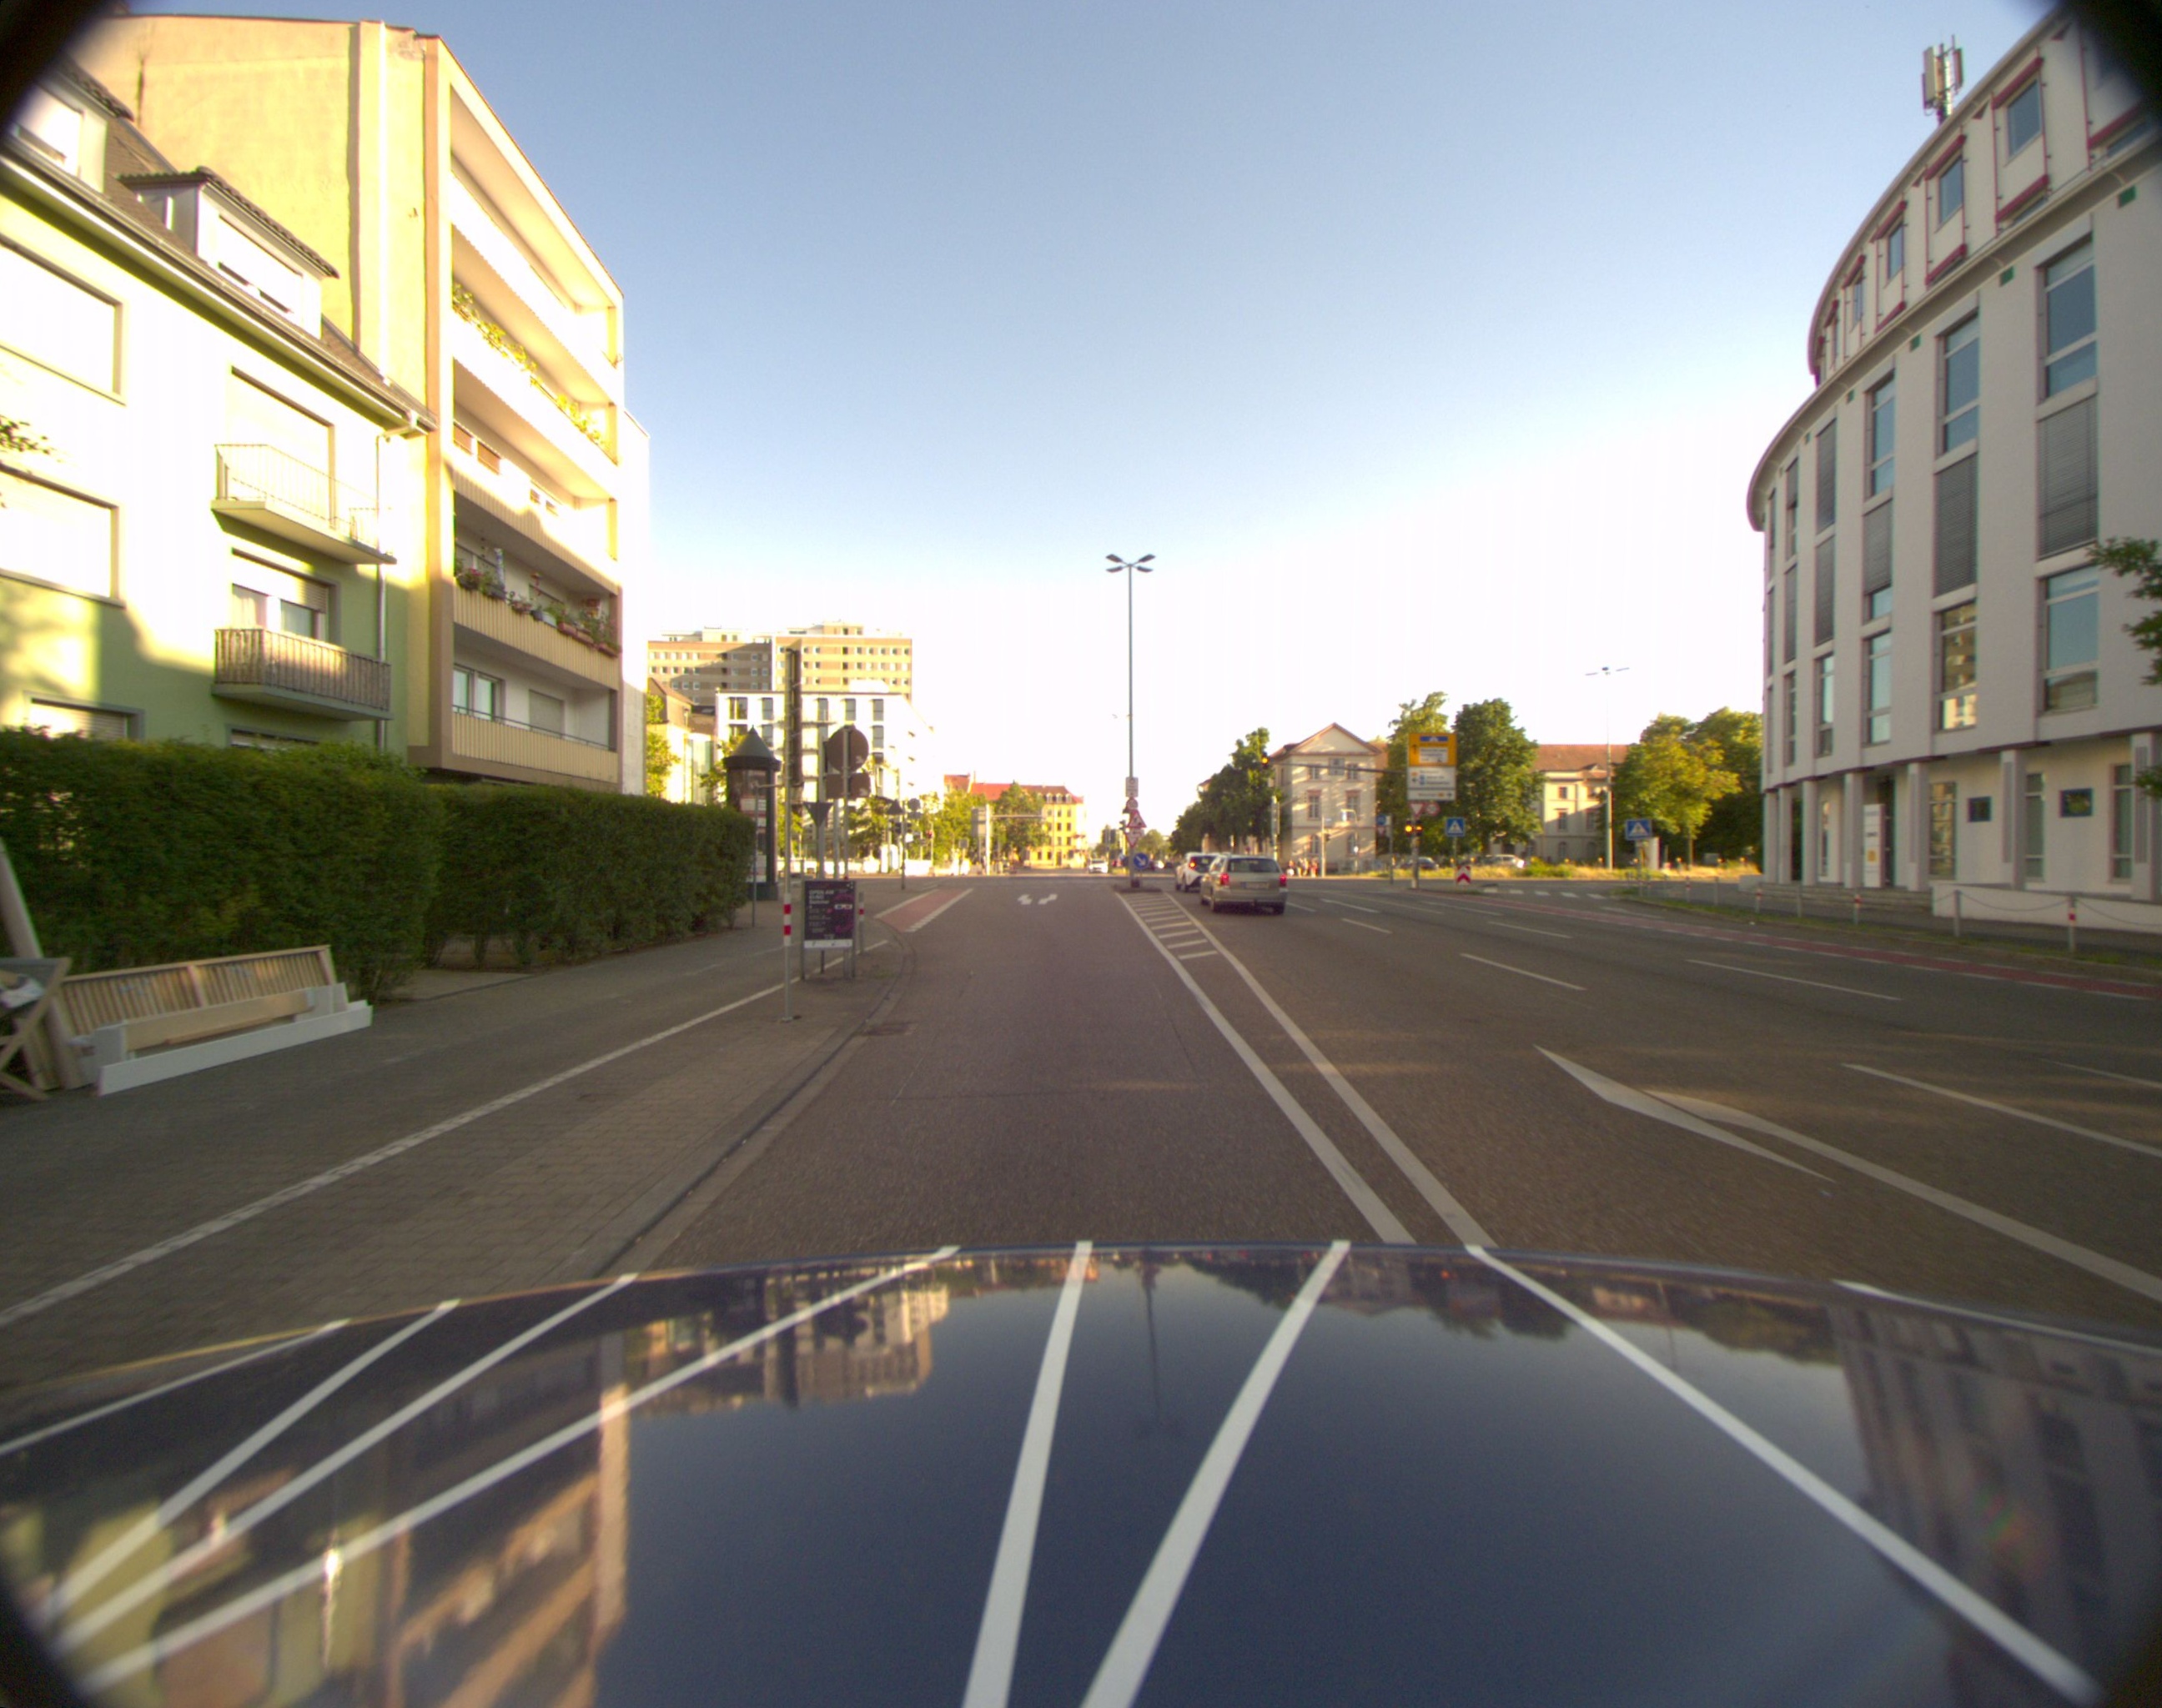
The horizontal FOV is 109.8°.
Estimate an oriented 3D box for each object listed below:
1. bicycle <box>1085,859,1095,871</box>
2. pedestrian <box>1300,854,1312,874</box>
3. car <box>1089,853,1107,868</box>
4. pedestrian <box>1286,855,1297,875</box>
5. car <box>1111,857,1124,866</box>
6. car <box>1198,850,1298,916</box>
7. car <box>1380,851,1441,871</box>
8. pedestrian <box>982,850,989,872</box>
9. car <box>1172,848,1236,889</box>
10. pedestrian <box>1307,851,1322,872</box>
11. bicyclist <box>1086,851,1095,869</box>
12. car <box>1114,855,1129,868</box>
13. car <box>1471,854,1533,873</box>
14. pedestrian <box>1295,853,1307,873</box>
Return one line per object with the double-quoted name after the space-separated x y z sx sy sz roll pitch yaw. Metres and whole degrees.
0.848 1.037 71.502 0.834 1.101 2.080 0 0 -1 "bicycle"
18.855 0.834 63.700 0.678 1.641 0.882 0 0 -8 "pedestrian"
1.711 0.633 76.093 1.764 1.489 3.708 0 0 1 "car"
17.625 0.907 63.593 0.621 1.641 0.889 0 0 -8 "pedestrian"
5.869 1.246 123.671 1.765 1.454 4.292 0 0 -1 "car"
4.192 0.685 19.775 1.832 1.505 4.605 0 0 3 "car"
24.480 0.484 56.553 3.645 1.437 1.999 0 0 -4 "car"
-8.436 0.623 67.117 0.500 1.866 0.601 0 0 -29 "pedestrian"
4.610 0.515 28.969 1.832 1.452 3.902 0 0 0 "car"
20.683 0.639 67.343 0.821 1.838 1.169 0 0 -8 "pedestrian"
0.870 0.559 71.411 0.838 1.594 1.023 0 0 -1 "bicyclist"
5.697 1.017 108.199 1.832 1.836 4.946 0 0 -1 "car"
31.801 0.712 57.474 3.645 1.437 1.999 0 0 -4 "car"
19.507 0.795 67.400 0.678 1.698 1.084 0 0 -8 "pedestrian"
